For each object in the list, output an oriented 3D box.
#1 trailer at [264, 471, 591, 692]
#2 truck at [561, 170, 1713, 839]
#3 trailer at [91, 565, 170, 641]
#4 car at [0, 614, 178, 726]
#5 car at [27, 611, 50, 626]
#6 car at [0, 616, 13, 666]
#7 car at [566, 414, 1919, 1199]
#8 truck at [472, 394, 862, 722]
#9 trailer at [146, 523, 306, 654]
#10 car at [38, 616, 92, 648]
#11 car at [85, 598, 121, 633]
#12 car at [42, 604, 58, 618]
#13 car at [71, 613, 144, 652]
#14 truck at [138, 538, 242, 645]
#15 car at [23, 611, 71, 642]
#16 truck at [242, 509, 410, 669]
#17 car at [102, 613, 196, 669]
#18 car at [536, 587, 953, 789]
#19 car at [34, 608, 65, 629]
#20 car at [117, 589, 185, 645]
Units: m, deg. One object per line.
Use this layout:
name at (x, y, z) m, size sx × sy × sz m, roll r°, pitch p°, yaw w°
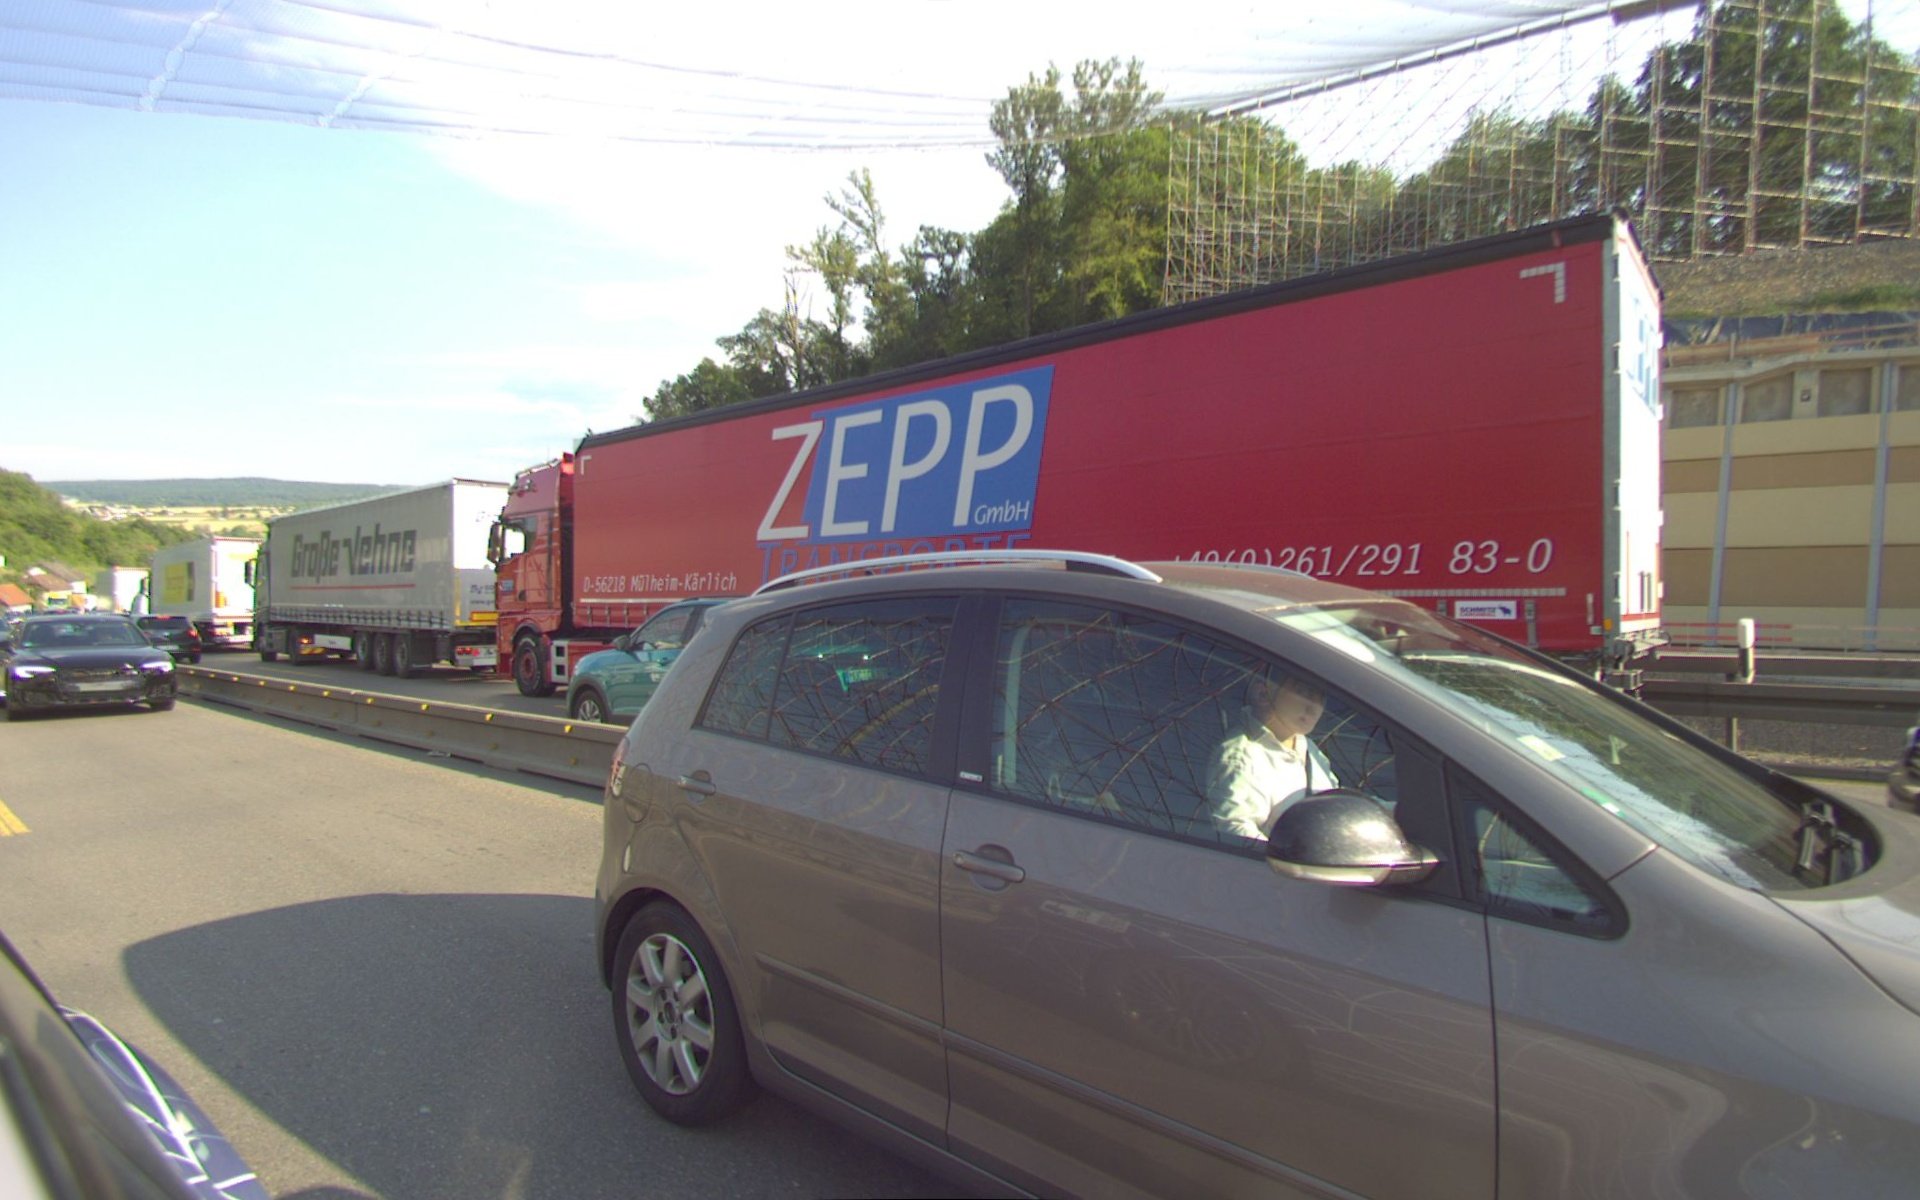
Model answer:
trailer at (-13.714, -0.314, 24.889) m, size 13.968 × 4.172 × 2.768 m, roll 0°, pitch 0°, yaw 43°
truck at (0.124, -0.562, 11.835) m, size 13.797 × 4.172 × 2.759 m, roll 0°, pitch 0°, yaw 40°
trailer at (-51.543, 0.221, 62.679) m, size 2.689 × 4.250 × 13.759 m, roll 0°, pitch 0°, yaw -44°
car at (-13.276, 0.939, 15.146) m, size 4.000 × 1.409 × 1.842 m, roll 0°, pitch -1°, yaw 43°
car at (-105.757, 2.115, 116.167) m, size 1.795 × 1.591 × 4.761 m, roll 3°, pitch -3°, yaw -41°
car at (-29.182, 1.215, 29.843) m, size 4.002 × 1.409 × 1.675 m, roll -2°, pitch 0°, yaw 45°
car at (0.879, 0.587, 2.388) m, size 4.097 × 1.585 × 1.666 m, roll 0°, pitch 0°, yaw 41°
truck at (-4.870, -0.515, 16.089) m, size 6.674 × 4.172 × 2.759 m, roll 0°, pitch 0°, yaw 40°
trailer at (-28.896, -0.341, 39.423) m, size 13.886 × 4.366 × 2.735 m, roll 0°, pitch 0°, yaw 44°
car at (-43.550, 1.506, 49.219) m, size 1.711 × 1.388 × 4.894 m, roll -2°, pitch 1°, yaw -44°
car at (-76.480, 1.344, 90.332) m, size 2.305 × 2.940 × 7.645 m, roll 1°, pitch -1°, yaw -40°
car at (-145.063, 1.730, 161.376) m, size 1.795 × 2.015 × 4.761 m, roll 3°, pitch -3°, yaw -41°
car at (-34.304, 1.270, 40.676) m, size 4.839 × 1.450 × 1.713 m, roll -1°, pitch 0°, yaw 44°
truck at (-33.366, -0.328, 43.787) m, size 5.936 × 4.332 × 2.714 m, roll -1°, pitch -1°, yaw 44°
car at (-50.741, 1.453, 56.189) m, size 1.732 × 1.670 × 4.865 m, roll 0°, pitch -1°, yaw -45°
truck at (-18.527, -0.268, 29.444) m, size 5.934 × 4.172 × 2.757 m, roll -1°, pitch -1°, yaw 43°
car at (-23.927, 1.161, 29.797) m, size 4.402 × 1.475 × 1.632 m, roll -1°, pitch 1°, yaw 45°
car at (-2.243, 0.697, 9.840) m, size 4.264 × 1.546 × 1.725 m, roll -1°, pitch 0°, yaw 41°
car at (-74.041, 1.524, 82.293) m, size 1.847 × 1.601 × 4.809 m, roll -2°, pitch 1°, yaw -42°
car at (-42.376, 0.945, 52.944) m, size 1.999 × 2.710 × 6.953 m, roll -2°, pitch 0°, yaw -45°
